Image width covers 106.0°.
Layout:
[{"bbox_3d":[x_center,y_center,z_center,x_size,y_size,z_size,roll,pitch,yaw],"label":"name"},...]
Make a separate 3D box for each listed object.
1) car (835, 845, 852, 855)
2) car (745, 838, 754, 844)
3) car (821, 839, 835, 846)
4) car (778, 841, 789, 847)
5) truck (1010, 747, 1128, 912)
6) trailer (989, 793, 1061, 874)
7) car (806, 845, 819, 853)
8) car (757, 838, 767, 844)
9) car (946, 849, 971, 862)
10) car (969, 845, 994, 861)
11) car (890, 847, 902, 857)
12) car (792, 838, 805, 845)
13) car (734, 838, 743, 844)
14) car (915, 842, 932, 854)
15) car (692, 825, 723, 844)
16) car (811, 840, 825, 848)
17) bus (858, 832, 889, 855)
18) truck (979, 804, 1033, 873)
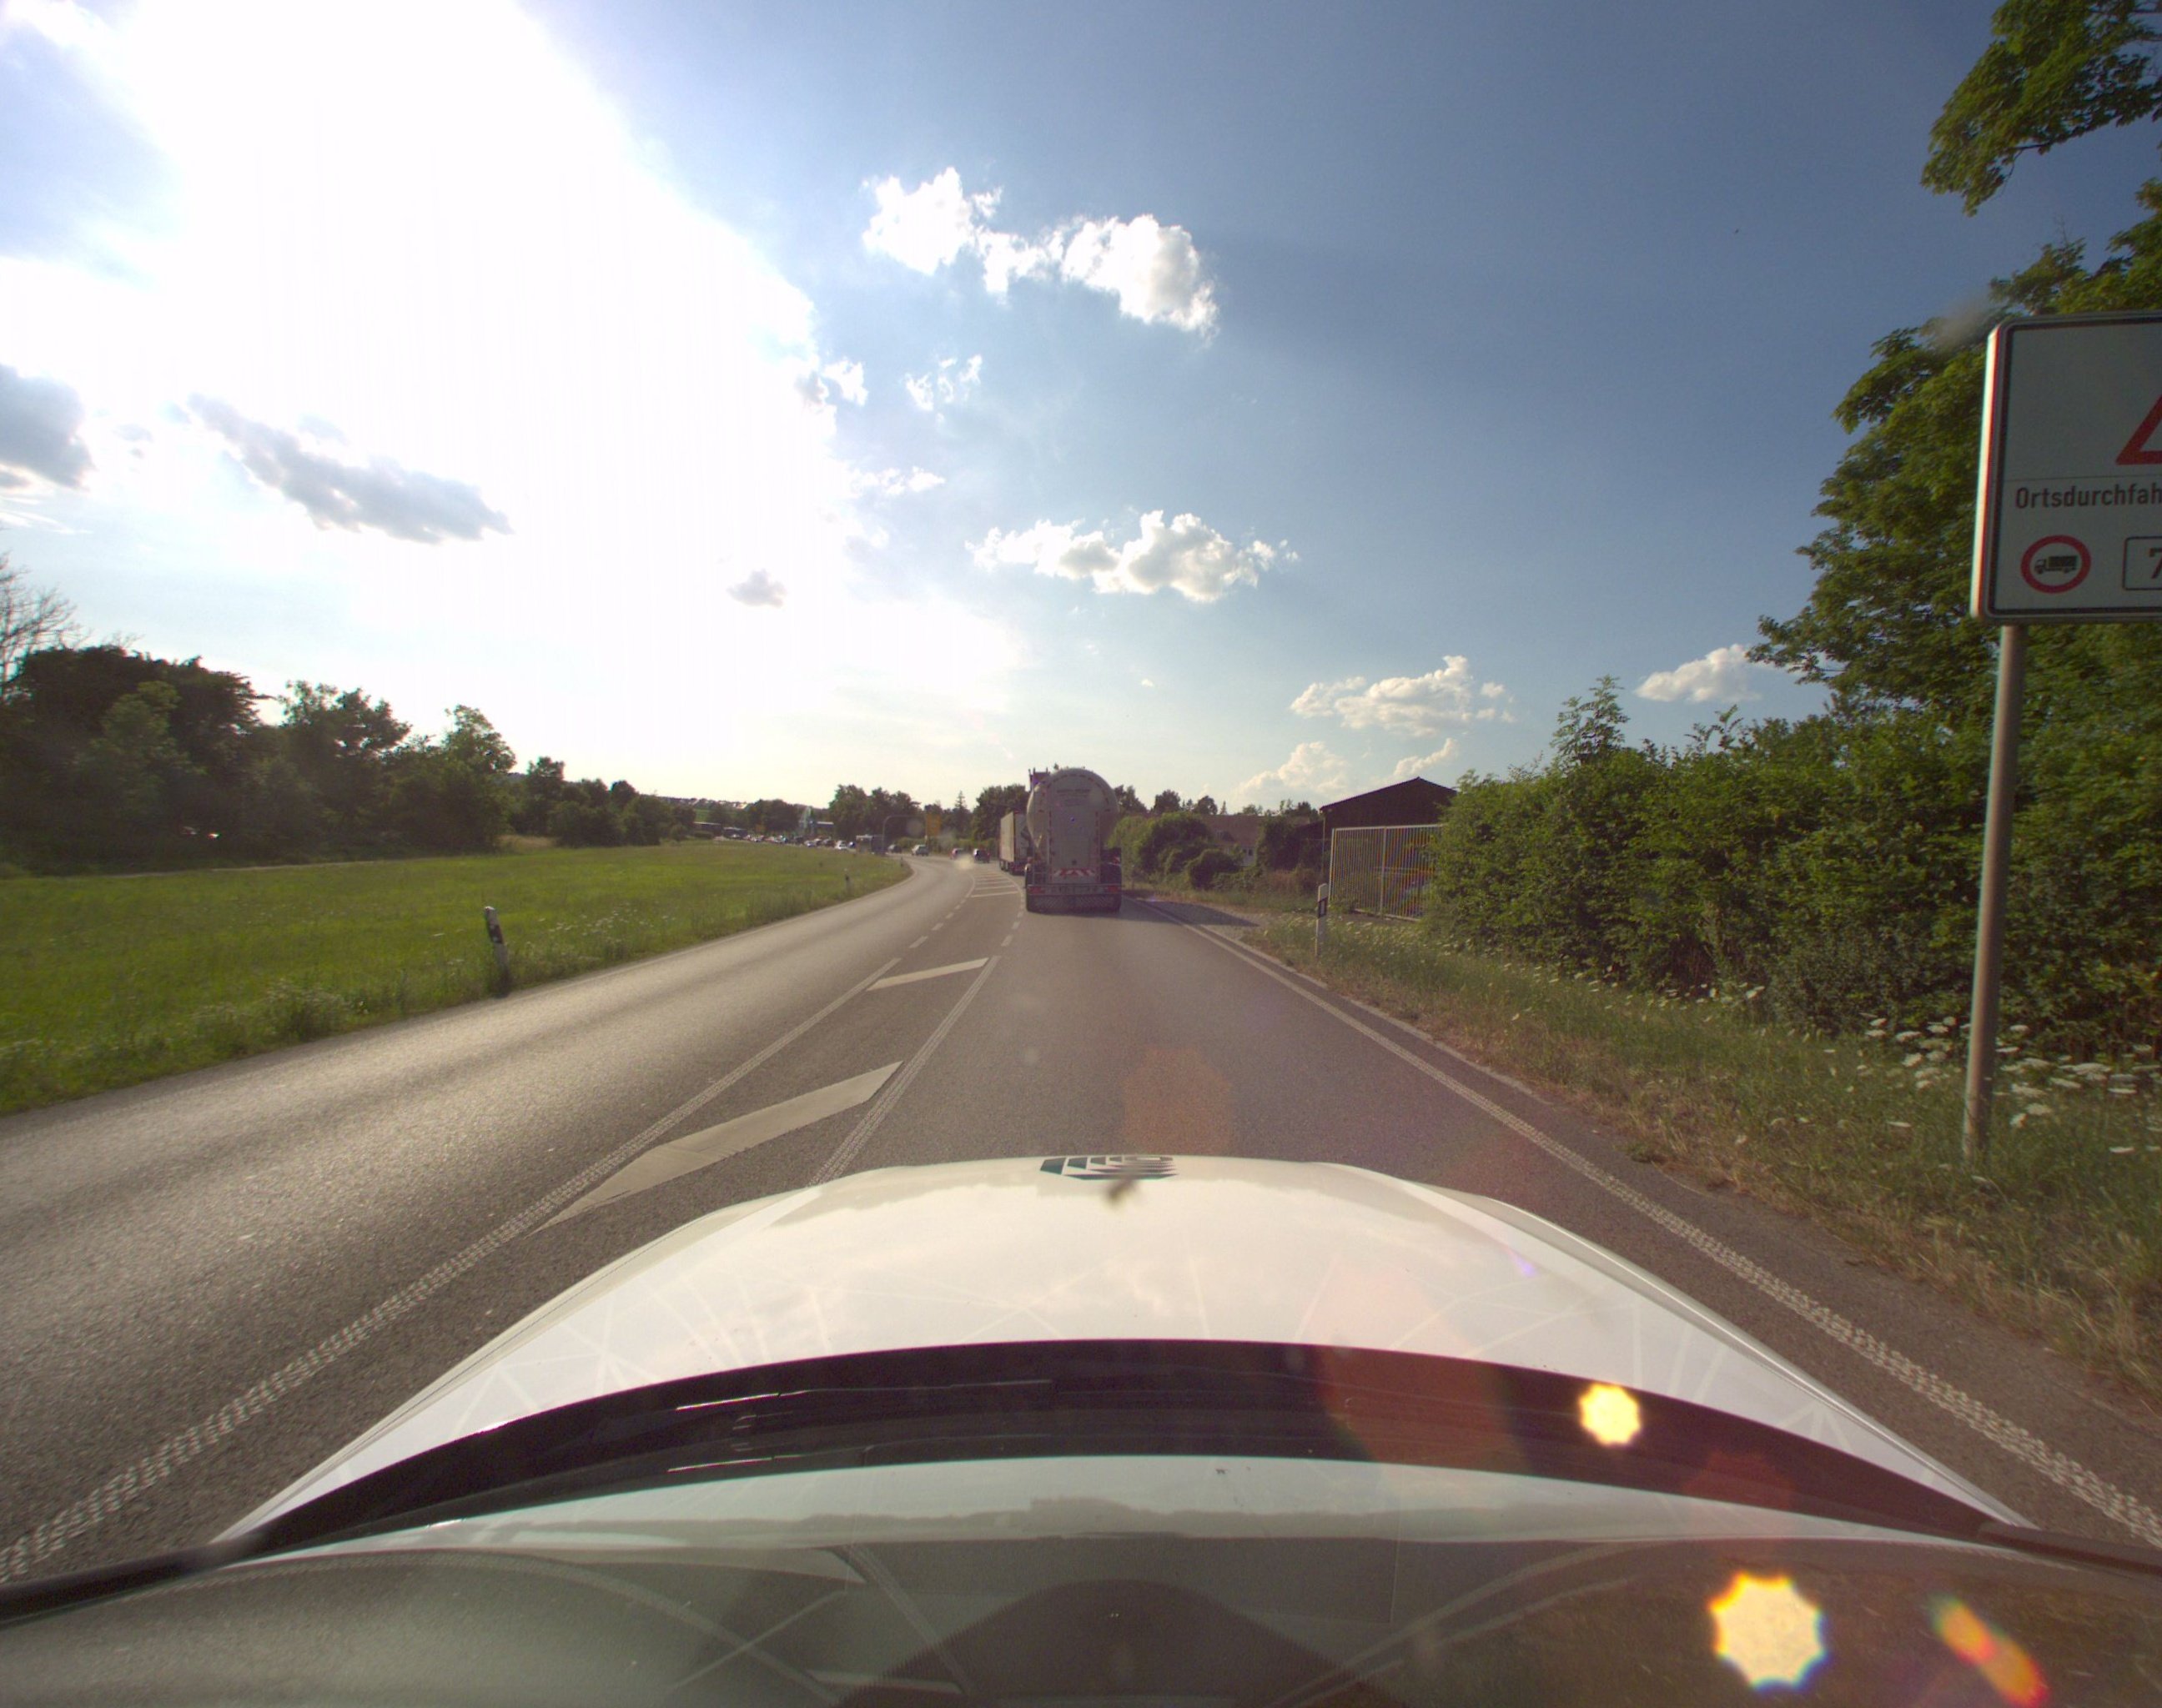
[{"bbox_3d":[-42.486,-0.716,145.777,1.854,1.656,3.958,1,-1,-33],"label":"car"},{"bbox_3d":[-89.053,-3.406,218.747,1.893,1.599,3.963,1,0,-29],"label":"car"},{"bbox_3d":[-55.497,-2.475,178.794,2.098,1.599,3.962,1,0,-30],"label":"car"},{"bbox_3d":[-74.134,-2.540,202.996,2.098,1.599,3.962,1,0,-30],"label":"car"},{"bbox_3d":[-0.501,-0.544,26.483,2.968,4.175,11.652,0,-1,-2],"label":"truck"},{"bbox_3d":[-3.919,-1.154,54.095,2.969,4.882,10.236,0,-1,-15],"label":"trailer"},{"bbox_3d":[-55.452,-1.041,168.205,1.852,1.656,3.963,1,-1,-28],"label":"car"},{"bbox_3d":[-83.359,-3.459,212.782,1.895,1.599,3.959,1,0,-33],"label":"car"},{"bbox_3d":[-16.140,0.180,107.422,2.309,1.656,4.381,1,-1,-23],"label":"car"},{"bbox_3d":[-11.241,-0.101,91.441,2.000,1.656,3.974,0,-1,-19],"label":"car"},{"bbox_3d":[-32.263,-0.367,142.089,1.525,1.656,3.846,1,-1,-20],"label":"car"},{"bbox_3d":[-67.654,-3.047,194.945,2.098,1.599,3.962,1,0,-30],"label":"car"},{"bbox_3d":[-93.811,-3.567,223.158,1.893,1.599,3.963,1,0,-29],"label":"car"},{"bbox_3d":[-24.451,-0.919,126.092,1.849,1.656,3.969,1,-1,-23],"label":"car"},{"bbox_3d":[-107.650,-5.603,234.445,13.078,5.059,3.574,1,0,44],"label":"car"},{"bbox_3d":[-60.097,-2.294,185.910,2.100,1.599,3.959,1,0,-33],"label":"car"},{"bbox_3d":[-31.910,-1.486,124.717,2.806,3.181,12.033,1,-1,-23],"label":"bus"},{"bbox_3d":[-5.701,-1.079,60.942,2.968,4.886,6.398,0,-1,-15],"label":"truck"}]
